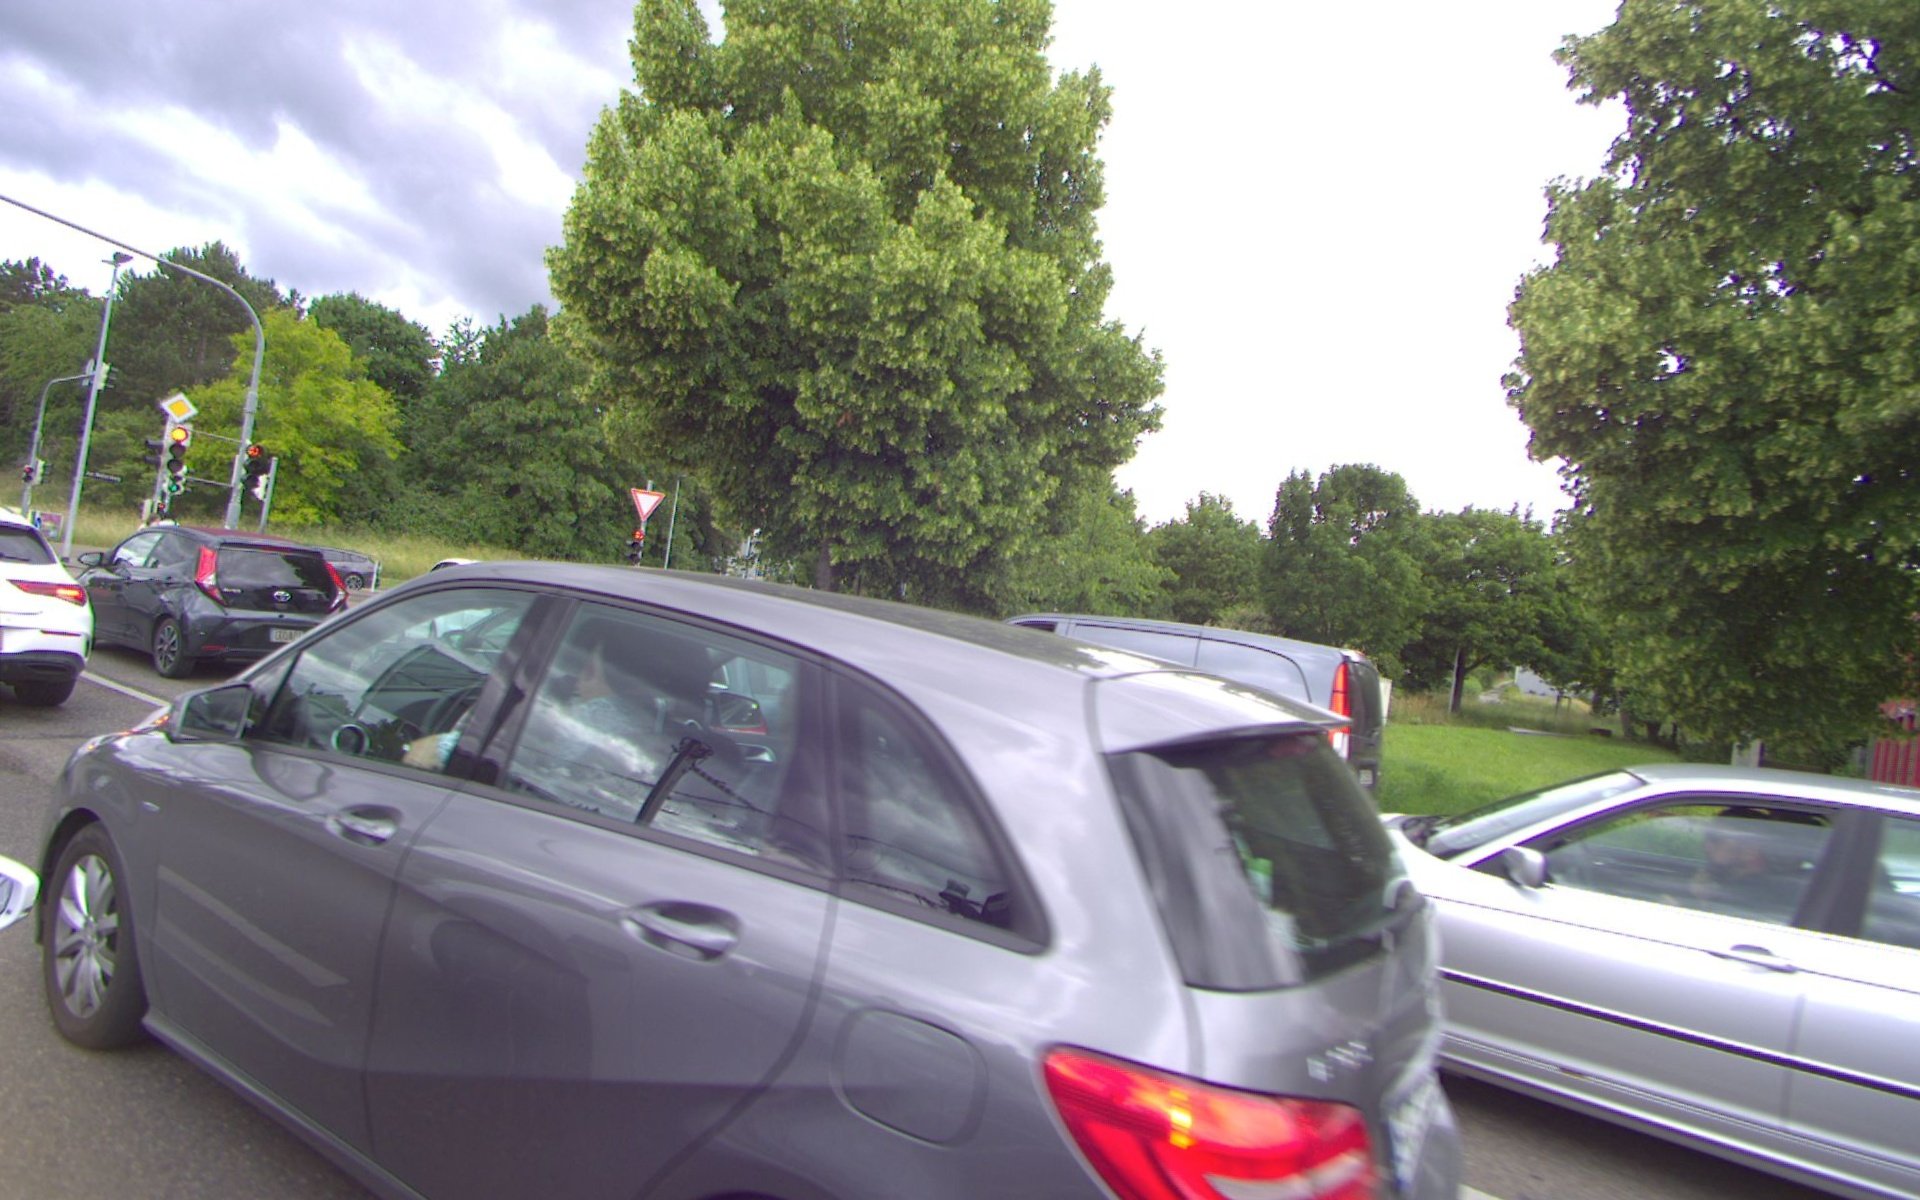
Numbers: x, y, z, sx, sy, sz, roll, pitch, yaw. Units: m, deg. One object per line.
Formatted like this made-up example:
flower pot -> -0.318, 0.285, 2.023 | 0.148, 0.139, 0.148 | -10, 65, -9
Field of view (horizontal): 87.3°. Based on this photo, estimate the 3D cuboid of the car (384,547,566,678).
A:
car -> -8.184, 0.133, 16.780 | 1.696, 1.656, 4.199 | 11, -3, -38

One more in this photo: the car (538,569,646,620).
car -> -15.958, -0.205, 43.804 | 1.809, 1.620, 3.991 | 7, -1, 34

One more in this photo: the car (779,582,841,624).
car -> -12.812, 0.217, 85.794 | 2.173, 2.570, 5.703 | 9, 1, -42

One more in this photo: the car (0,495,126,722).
car -> -8.049, -0.183, 7.292 | 4.284, 1.438, 1.724 | 7, -1, 32

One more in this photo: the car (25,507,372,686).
car -> -8.304, -0.070, 10.886 | 3.933, 1.420, 1.548 | 7, -1, 31

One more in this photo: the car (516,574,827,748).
car -> -3.465, 0.673, 11.840 | 3.585, 1.452, 1.516 | 7, -3, 37

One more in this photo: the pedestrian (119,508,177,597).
pedestrian -> -16.194, -0.945, 20.060 | 0.605, 1.652, 0.611 | 7, -2, 41

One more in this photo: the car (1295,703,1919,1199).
car -> 3.555, 1.389, 3.536 | 4.052, 1.370, 1.814 | 8, -1, 35

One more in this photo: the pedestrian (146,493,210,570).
pedestrian -> -17.709, -1.536, 22.799 | 0.509, 1.579, 0.865 | 8, 0, 30

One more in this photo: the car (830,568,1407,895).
car -> 1.258, 0.934, 8.764 | 4.432, 1.825, 1.828 | 7, -1, 33

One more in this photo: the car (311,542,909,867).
car -> -2.649, 0.585, 7.318 | 4.144, 1.452, 1.828 | 7, -1, 33

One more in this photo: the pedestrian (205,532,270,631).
pedestrian -> -11.305, -0.284, 15.745 | 0.349, 1.470, 0.610 | 7, -1, 40

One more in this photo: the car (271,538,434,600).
car -> -21.570, -1.069, 35.900 | 1.968, 1.479, 4.496 | 7, -1, 34

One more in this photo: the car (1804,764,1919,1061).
car -> 6.924, 1.949, 5.146 | 3.622, 1.512, 1.646 | 7, -3, 31

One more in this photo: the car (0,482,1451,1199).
car -> -1.078, 0.668, 2.862 | 4.120, 1.542, 1.801 | 7, -1, 34
